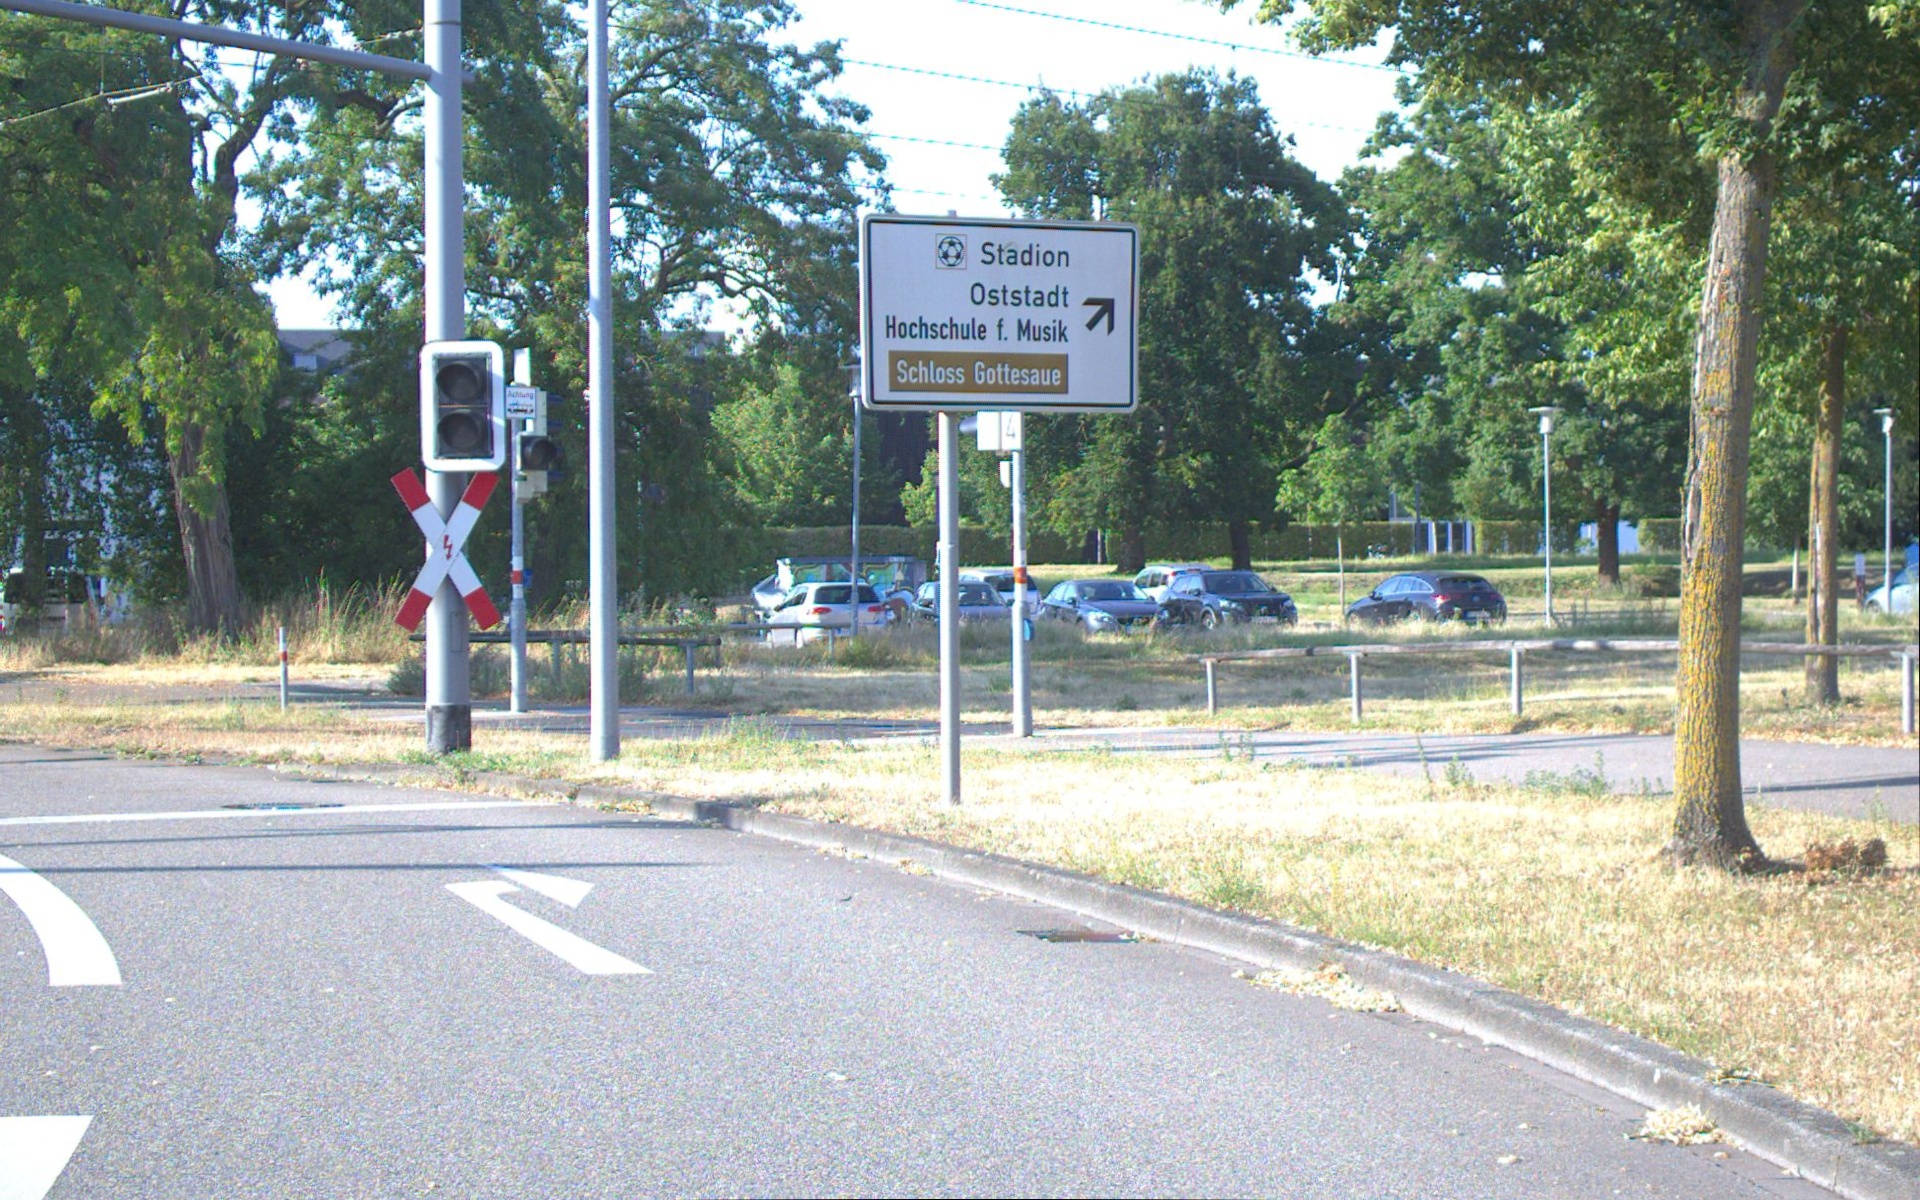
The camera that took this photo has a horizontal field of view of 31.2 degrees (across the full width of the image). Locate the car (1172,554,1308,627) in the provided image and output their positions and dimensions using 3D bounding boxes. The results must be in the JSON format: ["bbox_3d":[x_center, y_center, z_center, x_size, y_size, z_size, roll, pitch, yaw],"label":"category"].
[{"bbox_3d":[5.577,-0.190,68.905,1.601,1.397,3.970,-1,0,-12],"label":"car"}]

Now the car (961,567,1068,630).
[{"bbox_3d":[1.243,-0.038,80.016,1.601,1.397,3.970,-1,0,-12],"label":"car"}]

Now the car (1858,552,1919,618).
[{"bbox_3d":[21.197,-0.333,73.972,1.821,1.398,4.001,-1,0,-17],"label":"car"}]

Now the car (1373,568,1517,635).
[{"bbox_3d":[9.782,0.023,69.639,1.601,1.305,3.970,-1,0,-12],"label":"car"}]

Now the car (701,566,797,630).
[{"bbox_3d":[-4.872,-0.052,79.043,1.601,1.397,3.970,-1,0,-12],"label":"car"}]

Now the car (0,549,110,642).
[{"bbox_3d":[-16.399,-0.086,62.363,1.770,1.612,3.970,-1,0,-12],"label":"car"}]

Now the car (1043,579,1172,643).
[{"bbox_3d":[2.910,0.210,68.445,1.601,1.216,3.970,-1,0,-12],"label":"car"}]

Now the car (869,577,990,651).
[{"bbox_3d":[-0.631,0.267,67.994,1.601,1.397,3.970,-1,0,-12],"label":"car"}]

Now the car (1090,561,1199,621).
[{"bbox_3d":[4.378,-0.217,82.186,1.601,1.397,3.970,-1,0,-12],"label":"car"}]

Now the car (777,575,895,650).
[{"bbox_3d":[-2.447,0.235,67.079,1.601,1.397,3.970,-1,0,-12],"label":"car"}]
